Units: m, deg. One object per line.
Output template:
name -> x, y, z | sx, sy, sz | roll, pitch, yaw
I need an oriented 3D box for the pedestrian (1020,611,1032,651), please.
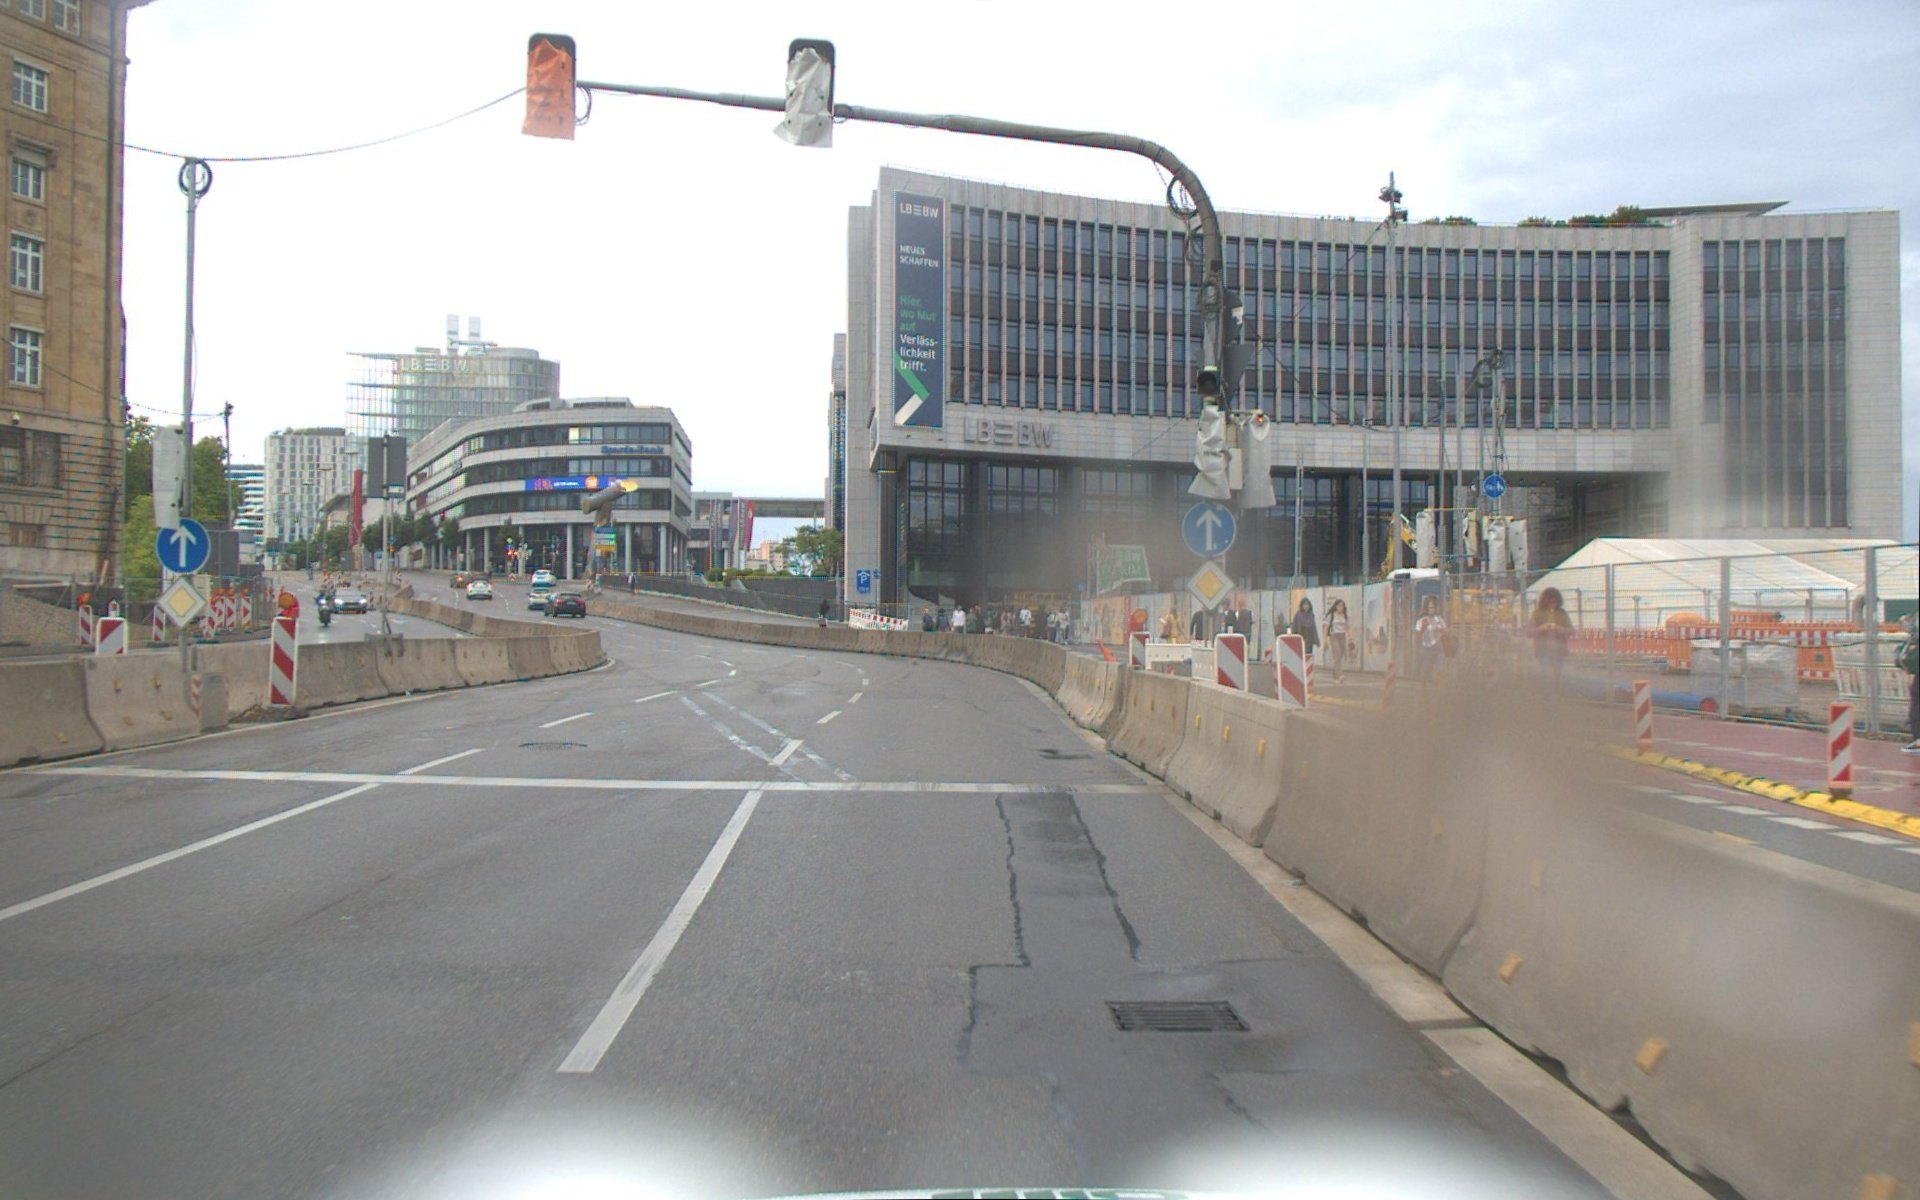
pedestrian -> 3.073, 1.424, 76.986 | 0.518, 1.850, 0.536 | 1, -1, -2

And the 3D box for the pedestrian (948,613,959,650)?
pedestrian -> -0.289, 1.500, 78.557 | 0.439, 1.735, 0.646 | 1, -1, -7

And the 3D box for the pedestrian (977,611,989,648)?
pedestrian -> 1.100, 1.407, 78.775 | 0.439, 1.735, 0.646 | 1, -1, -7

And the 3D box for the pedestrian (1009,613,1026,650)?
pedestrian -> 2.725, 1.488, 78.279 | 0.507, 1.735, 0.566 | 1, -1, -39

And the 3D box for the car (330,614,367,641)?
car -> -35.236, 1.621, 95.260 | 1.583, 1.376, 3.720 | 2, -4, -27

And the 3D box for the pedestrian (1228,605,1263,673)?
pedestrian -> 8.095, 1.104, 46.976 | 0.764, 1.894, 0.810 | -1, -1, -6

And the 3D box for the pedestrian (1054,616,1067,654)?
pedestrian -> 4.593, 1.587, 75.806 | 0.490, 1.735, 0.732 | 1, -1, -3

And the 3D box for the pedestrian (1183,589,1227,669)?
pedestrian -> 5.780, 0.686, 39.066 | 0.803, 1.860, 1.110 | 0, -1, -4

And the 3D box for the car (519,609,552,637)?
car -> -28.742, 1.553, 111.975 | 1.714, 1.908, 3.753 | 1, -1, -21

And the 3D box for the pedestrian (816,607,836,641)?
pedestrian -> -7.267, 1.315, 89.748 | 0.746, 1.822, 1.050 | 1, -2, -23

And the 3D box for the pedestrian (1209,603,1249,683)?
pedestrian -> 6.484, 1.035, 39.925 | 0.764, 1.894, 0.810 | 1, -1, -6

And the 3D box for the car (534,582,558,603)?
car -> -37.619, -0.638, 150.348 | 1.961, 1.836, 4.247 | 1, 0, -16

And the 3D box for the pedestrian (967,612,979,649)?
pedestrian -> 0.618, 1.437, 78.707 | 0.445, 1.735, 0.646 | 1, -1, -7

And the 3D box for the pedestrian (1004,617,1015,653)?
pedestrian -> 2.399, 1.686, 79.630 | 0.438, 1.735, 0.647 | 1, -1, 6

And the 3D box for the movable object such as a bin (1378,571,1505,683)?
movable object such as a bin -> 18.359, 1.050, 63.164 | 3.047, 4.101, 3.667 | 1, -2, -25

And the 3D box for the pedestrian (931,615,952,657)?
pedestrian -> -0.716, 1.415, 65.076 | 0.647, 1.671, 0.820 | 1, -1, -14

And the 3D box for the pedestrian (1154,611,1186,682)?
pedestrian -> 5.702, 1.266, 44.947 | 0.718, 1.887, 0.830 | 1, -1, -4

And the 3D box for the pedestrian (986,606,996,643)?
pedestrian -> 1.505, 1.181, 80.010 | 0.438, 1.735, 0.647 | 1, -1, 6

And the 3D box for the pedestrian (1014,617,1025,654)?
pedestrian -> 2.848, 1.692, 79.388 | 0.438, 1.735, 0.647 | 1, -1, 6

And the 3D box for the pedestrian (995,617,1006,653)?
pedestrian -> 1.951, 1.691, 79.934 | 0.438, 1.735, 0.647 | 1, -1, 6

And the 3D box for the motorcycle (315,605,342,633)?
motorcycle -> -27.402, 0.821, 71.783 | 0.858, 1.169, 2.135 | 1, -1, -27

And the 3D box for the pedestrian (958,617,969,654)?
pedestrian -> 0.165, 1.666, 78.623 | 0.439, 1.735, 0.646 | 1, -1, -7

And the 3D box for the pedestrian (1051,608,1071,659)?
pedestrian -> 4.121, 1.359, 67.681 | 0.768, 2.049, 0.863 | 1, -1, 4

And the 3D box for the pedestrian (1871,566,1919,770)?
pedestrian -> 9.255, 0.640, 15.744 | 0.771, 1.894, 0.682 | 1, -1, -6

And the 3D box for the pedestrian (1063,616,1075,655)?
pedestrian -> 4.886, 1.565, 73.895 | 0.439, 1.735, 0.646 | 1, -1, -3

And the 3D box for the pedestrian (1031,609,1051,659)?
pedestrian -> 3.322, 1.381, 67.914 | 0.768, 2.049, 0.863 | 1, -1, 4

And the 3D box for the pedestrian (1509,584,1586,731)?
pedestrian -> 7.729, 0.753, 21.776 | 0.676, 1.894, 0.810 | 1, -1, -6

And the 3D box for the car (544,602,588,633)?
car -> -21.894, 1.010, 91.772 | 1.653, 1.535, 3.714 | 2, -4, -25

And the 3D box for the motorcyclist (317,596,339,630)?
motorcyclist -> -27.490, 0.573, 71.983 | 0.788, 1.477, 0.818 | 1, -1, -27

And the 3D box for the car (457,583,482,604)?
car -> -43.340, -0.542, 146.191 | 1.961, 1.836, 4.247 | 1, 0, -16

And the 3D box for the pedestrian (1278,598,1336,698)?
pedestrian -> 6.721, 0.925, 32.085 | 0.853, 1.894, 0.947 | 1, -1, -6

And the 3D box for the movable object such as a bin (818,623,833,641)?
movable object such as a bin -> -7.238, 1.722, 89.169 | 0.590, 0.950, 0.736 | 2, -2, -23

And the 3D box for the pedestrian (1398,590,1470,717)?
pedestrian -> 7.246, 0.813, 25.338 | 0.764, 1.894, 0.948 | 1, -1, -6

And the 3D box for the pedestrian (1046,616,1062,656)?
pedestrian -> 4.213, 1.602, 73.894 | 0.613, 1.735, 0.646 | 1, -1, -3

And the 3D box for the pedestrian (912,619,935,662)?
pedestrian -> -1.434, 1.595, 64.909 | 0.738, 1.671, 0.820 | 1, -1, -14

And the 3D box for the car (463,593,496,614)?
car -> -36.527, 0.270, 125.649 | 1.721, 1.532, 3.720 | 1, -1, -27

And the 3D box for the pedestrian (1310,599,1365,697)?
pedestrian -> 7.471, 0.939, 32.733 | 0.764, 1.894, 1.057 | 1, -1, -6
